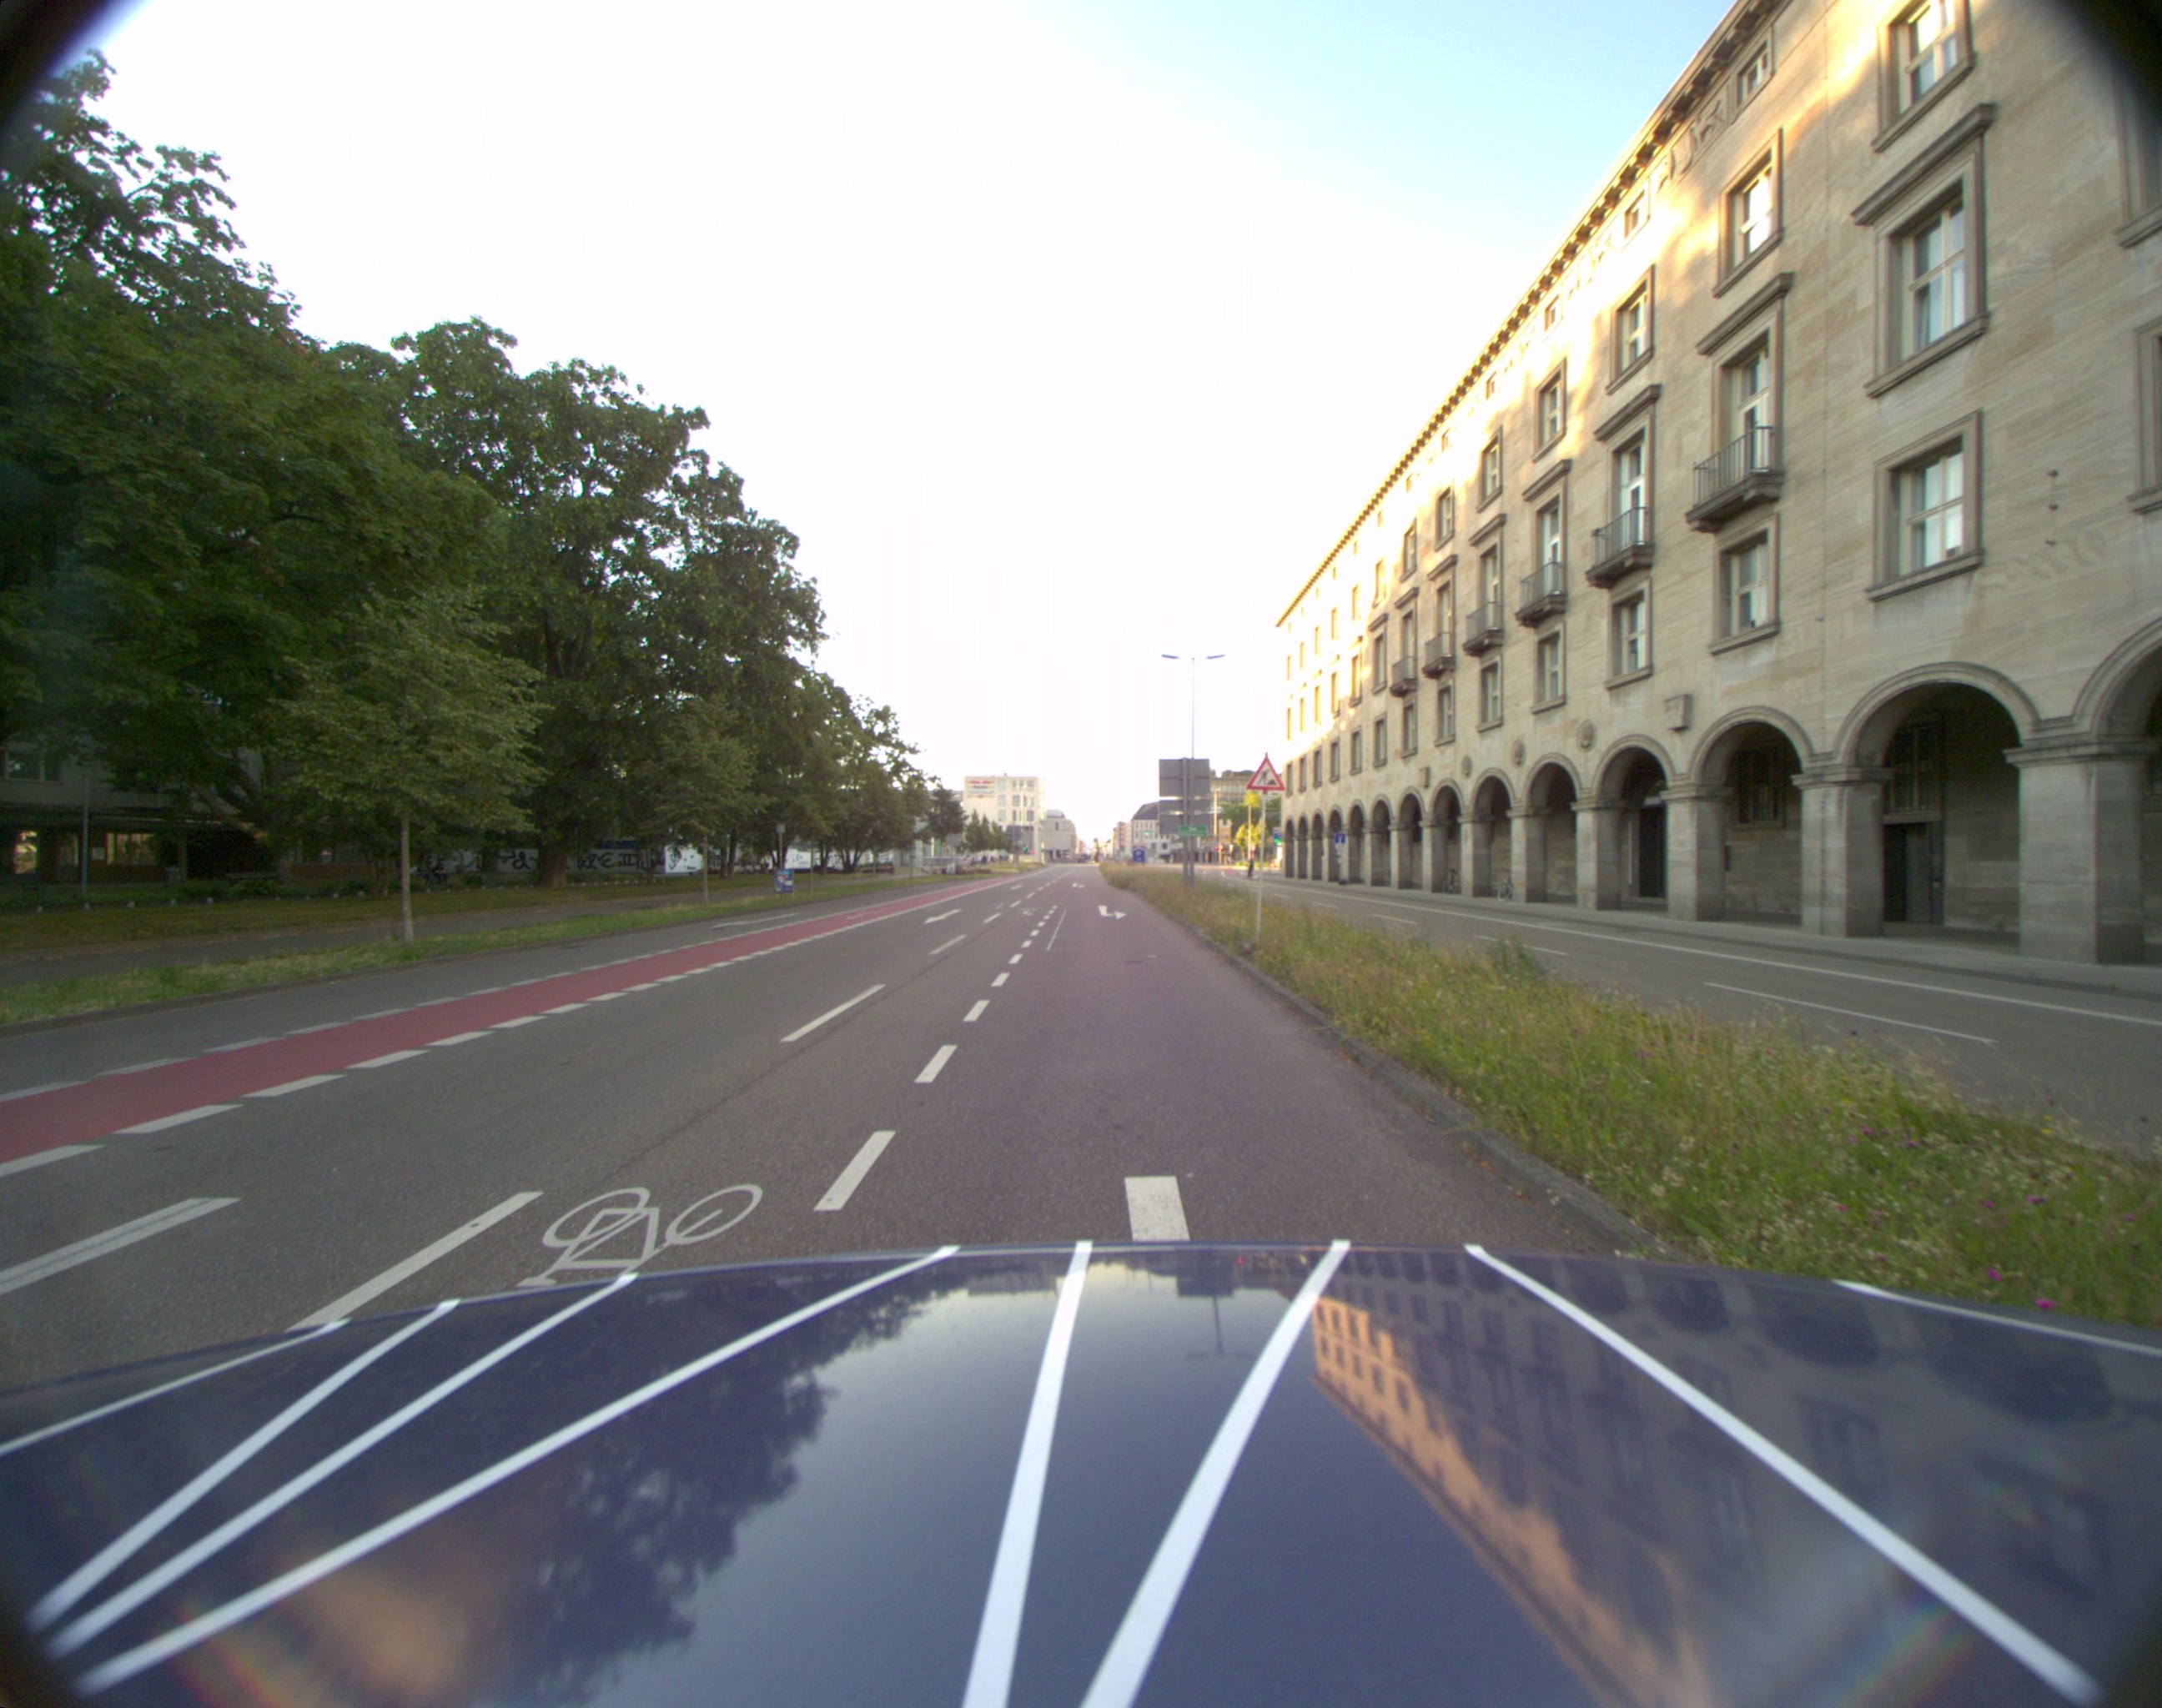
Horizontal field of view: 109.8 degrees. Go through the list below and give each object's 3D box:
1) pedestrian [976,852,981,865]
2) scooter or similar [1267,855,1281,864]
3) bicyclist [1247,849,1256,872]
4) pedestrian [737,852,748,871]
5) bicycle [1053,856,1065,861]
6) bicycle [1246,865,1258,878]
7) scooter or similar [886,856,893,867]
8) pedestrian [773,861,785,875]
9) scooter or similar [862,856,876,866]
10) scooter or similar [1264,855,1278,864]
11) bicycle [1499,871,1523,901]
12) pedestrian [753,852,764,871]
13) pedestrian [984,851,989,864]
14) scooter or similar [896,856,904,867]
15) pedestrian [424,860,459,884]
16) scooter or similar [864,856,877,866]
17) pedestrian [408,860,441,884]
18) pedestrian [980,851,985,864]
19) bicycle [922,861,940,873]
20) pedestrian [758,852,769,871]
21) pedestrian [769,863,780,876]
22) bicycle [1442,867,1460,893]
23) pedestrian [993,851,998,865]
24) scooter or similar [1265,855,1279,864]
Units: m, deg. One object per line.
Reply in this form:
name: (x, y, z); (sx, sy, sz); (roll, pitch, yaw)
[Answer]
pedestrian: (-14.727, 0.645, 108.930); (0.644, 1.922, 0.619); (0, 1, 3)
scooter or similar: (26.450, 0.764, 103.949); (1.841, 1.297, 0.423); (0, 1, -5)
bicyclist: (13.075, 0.496, 58.223); (0.538, 1.683, 0.748); (0, 1, 0)
pedestrian: (-33.363, 0.710, 74.880); (0.768, 1.845, 0.601); (0, 1, 16)
bicycle: (-5.438, 1.073, 188.947); (2.804, 1.209, 0.765); (0, 0, 10)
bicycle: (13.067, 1.315, 58.146); (0.543, 0.999, 2.005); (0, 0, 1)
scooter or similar: (-21.155, 0.838, 83.922); (0.474, 1.213, 1.573); (2, 0, -6)
pedestrian: (-20.611, 0.953, 51.855); (0.682, 0.879, 0.592); (0, 0, -24)
scooter or similar: (-26.763, 0.891, 96.051); (1.573, 1.213, 0.474); (-2, 1, -1)
scooter or similar: (26.329, 0.766, 105.381); (1.863, 1.297, 0.500); (0, 1, -5)
bicycle: (15.375, 1.117, 27.154); (0.477, 0.999, 2.009); (0, 0, 37)
pedestrian: (-32.103, 0.736, 75.680); (0.768, 1.810, 0.601); (0, 1, 16)
pedestrian: (-14.308, 0.582, 115.032); (0.644, 1.922, 0.619); (0, 1, 3)
scooter or similar: (-19.982, 0.826, 83.985); (0.424, 1.213, 1.399); (2, 0, 2)
pedestrian: (-34.906, 0.972, 41.472); (1.134, 1.253, 0.905); (0, 0, 3)
scooter or similar: (-26.821, 0.877, 96.868); (1.573, 1.213, 0.474); (-2, 1, -1)
pedestrian: (-35.021, 0.963, 40.523); (1.134, 1.253, 0.726); (0, 1, 3)
pedestrian: (-14.058, 0.518, 108.767); (0.644, 1.922, 0.619); (0, 1, 3)
bicycle: (-12.681, 1.090, 64.313); (0.494, 1.000, 1.901); (3, 1, 21)
pedestrian: (-31.036, 0.729, 74.347); (0.768, 1.908, 0.601); (0, 1, 16)
pedestrian: (-21.119, 1.033, 52.330); (0.682, 0.879, 0.622); (0, 0, -22)
bicycle: (15.659, 1.089, 32.189); (0.477, 0.999, 2.008); (0, 0, 20)
pedestrian: (-12.107, 0.533, 108.127); (0.644, 1.922, 0.619); (0, 1, 1)
scooter or similar: (26.394, 0.773, 104.875); (1.793, 1.297, 0.417); (0, 1, -5)
